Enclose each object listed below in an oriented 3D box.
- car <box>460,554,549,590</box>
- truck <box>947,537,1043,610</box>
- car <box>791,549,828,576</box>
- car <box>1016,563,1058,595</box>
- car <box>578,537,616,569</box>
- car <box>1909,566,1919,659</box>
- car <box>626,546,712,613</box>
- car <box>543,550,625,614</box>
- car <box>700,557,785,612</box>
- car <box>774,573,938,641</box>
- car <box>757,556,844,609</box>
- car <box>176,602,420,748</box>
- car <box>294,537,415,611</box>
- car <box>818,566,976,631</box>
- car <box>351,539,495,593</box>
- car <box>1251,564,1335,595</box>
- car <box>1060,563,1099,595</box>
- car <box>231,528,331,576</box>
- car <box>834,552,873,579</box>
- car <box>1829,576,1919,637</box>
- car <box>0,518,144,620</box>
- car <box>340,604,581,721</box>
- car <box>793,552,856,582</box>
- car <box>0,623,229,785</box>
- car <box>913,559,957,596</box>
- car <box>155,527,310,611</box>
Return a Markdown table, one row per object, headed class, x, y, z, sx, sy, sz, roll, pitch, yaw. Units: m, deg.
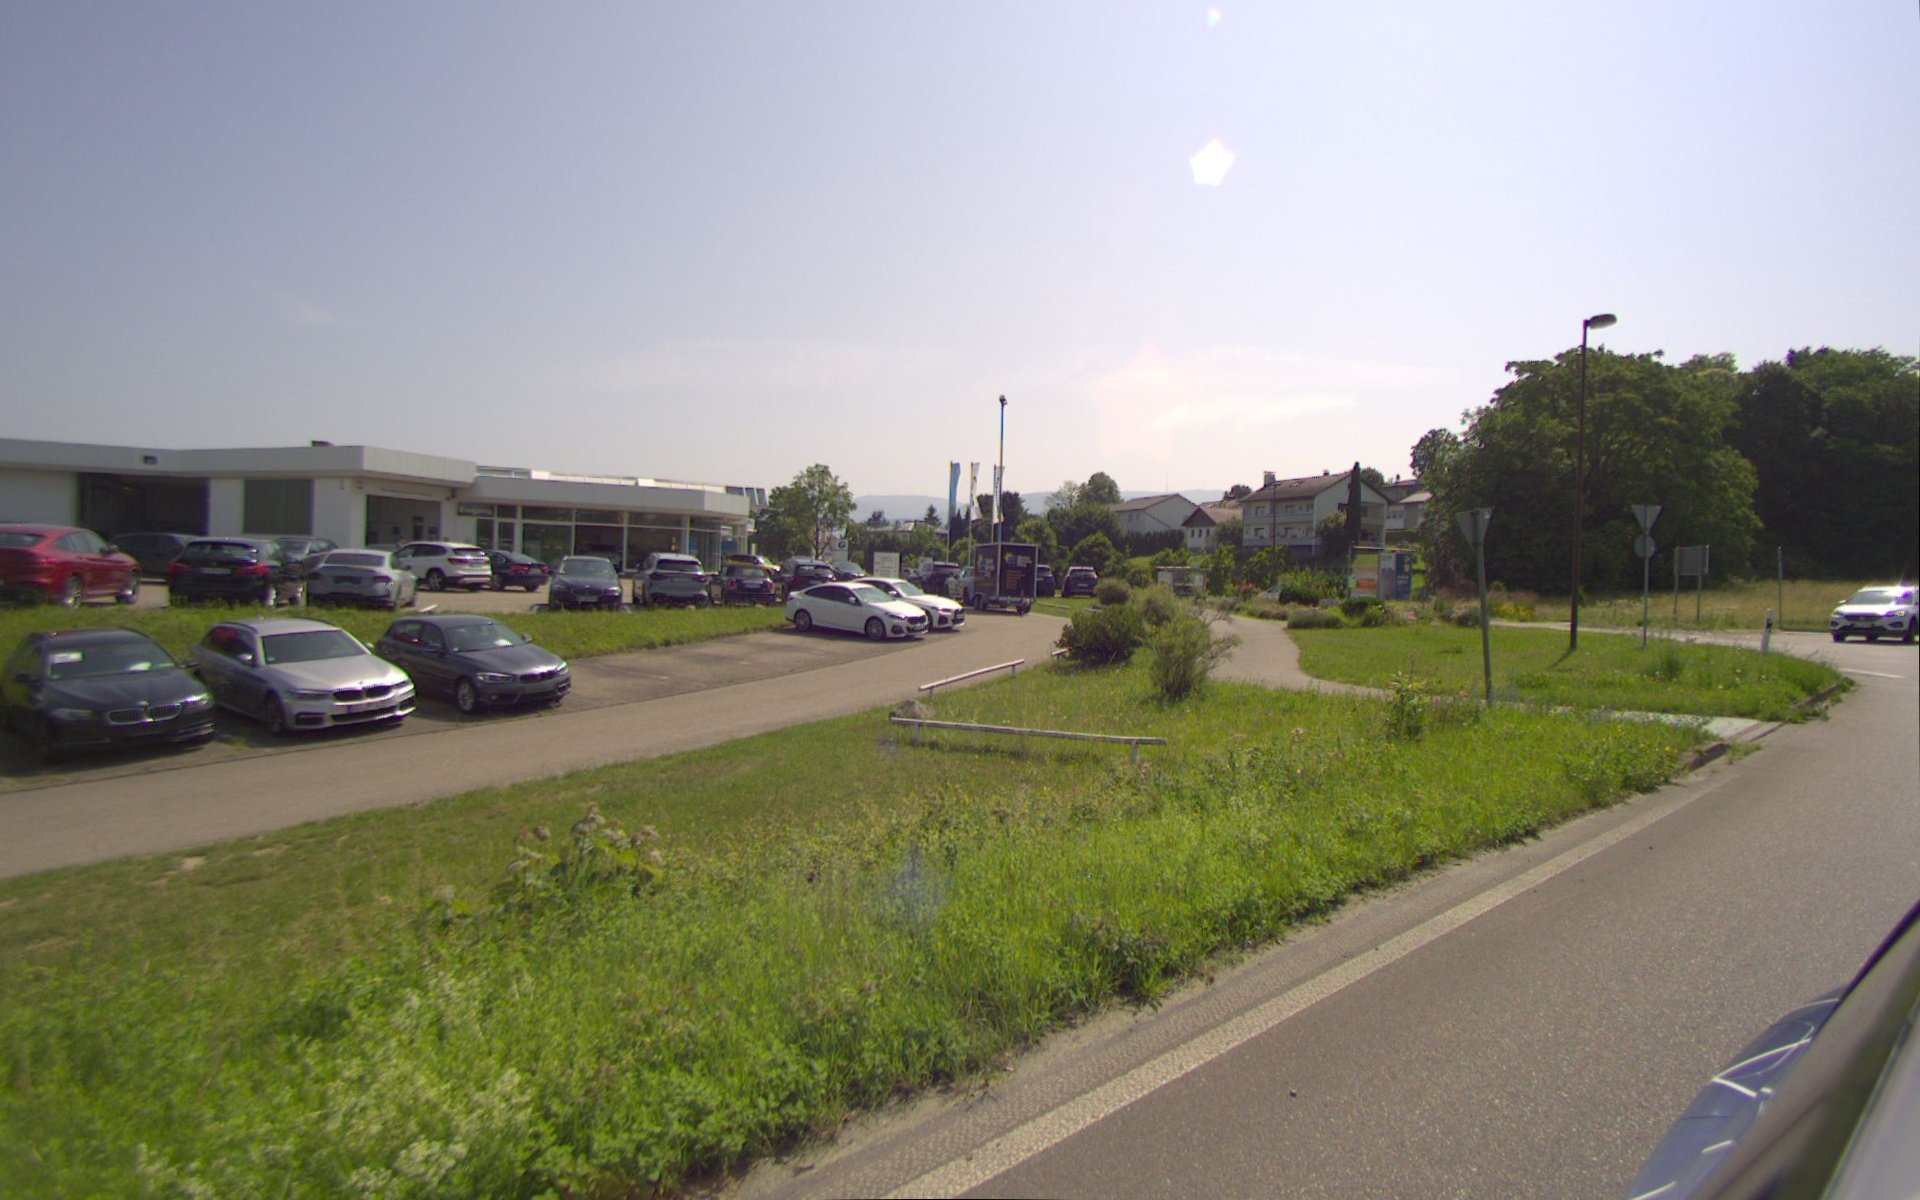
| class | x | y | z | sx | sy | sz | roll | pitch | yaw |
| --- | --- | --- | --- | --- | --- | --- | --- | --- | --- |
| car | -16.091 | -1.001 | 35.759 | 2.935 | 1.123 | 1.608 | 4 | 3 | 35 |
| truck | 1.302 | -1.117 | 40.900 | 1.908 | 2.697 | 5.641 | 1 | 2 | -19 |
| car | -9.577 | -2.345 | 64.064 | 1.548 | 1.675 | 3.706 | 0 | 1 | -21 |
| car | 4.002 | -1.103 | 51.849 | 1.878 | 1.531 | 4.368 | 2 | 2 | 8 |
| car | -19.706 | -2.561 | 55.043 | 1.869 | 1.605 | 4.051 | 1 | 2 | -19 |
| car | 21.908 | 0.308 | 19.344 | 1.821 | 1.962 | 5.242 | 0 | 1 | -19 |
| car | -8.879 | -0.659 | 30.643 | 1.909 | 1.771 | 4.019 | 1 | 3 | -24 |
| car | -10.142 | -0.537 | 27.532 | 1.908 | 1.545 | 4.019 | 1 | 2 | -19 |
| car | -7.273 | -0.561 | 33.560 | 1.909 | 1.518 | 4.019 | 2 | 3 | -24 |
| car | -2.993 | 0.123 | 28.750 | 4.544 | 1.589 | 1.749 | 4 | 4 | 32 |
| car | -5.697 | -0.668 | 35.702 | 1.909 | 1.517 | 4.438 | 0 | 5 | -24 |
| car | -10.670 | 1.047 | 16.190 | 4.551 | 1.584 | 1.898 | 5 | 7 | 38 |
| car | -14.004 | -0.649 | 23.657 | 1.909 | 1.518 | 4.478 | 1 | 2 | -24 |
| car | -1.976 | -0.090 | 31.378 | 4.621 | 1.589 | 1.752 | 5 | 3 | 26 |
| car | -17.864 | -1.148 | 33.694 | 4.206 | 1.605 | 1.651 | 3 | 2 | 14 |
| car | 18.951 | -1.148 | 57.736 | 2.088 | 1.636 | 4.200 | 2 | -1 | -34 |
| car | 6.220 | -1.105 | 52.668 | 1.878 | 1.531 | 4.368 | 2 | 2 | 8 |
| car | -23.920 | -1.718 | 35.836 | 1.908 | 1.541 | 4.479 | 1 | 2 | -20 |
| car | -6.791 | -2.175 | 64.138 | 1.548 | 1.675 | 3.706 | 0 | 1 | -21 |
| car | 27.980 | 0.167 | 30.057 | 5.025 | 1.673 | 2.197 | 0 | 1 | -36 |
| car | -17.761 | -0.652 | 19.656 | 1.909 | 1.768 | 4.478 | 1 | 3 | -24 |
| car | -8.923 | 1.002 | 17.972 | 4.541 | 1.438 | 1.764 | 4 | 6 | 33 |
| car | -9.674 | -2.339 | 72.180 | 4.172 | 2.039 | 2.004 | 0 | 1 | -21 |
| car | -12.356 | 1.336 | 14.530 | 4.241 | 1.499 | 1.898 | 5 | 7 | 38 |
| car | -1.251 | -1.126 | 49.124 | 1.872 | 1.701 | 3.824 | 2 | 2 | -4 |
| car | -15.848 | -0.713 | 22.294 | 1.909 | 1.654 | 4.478 | 1 | 3 | -24 |
